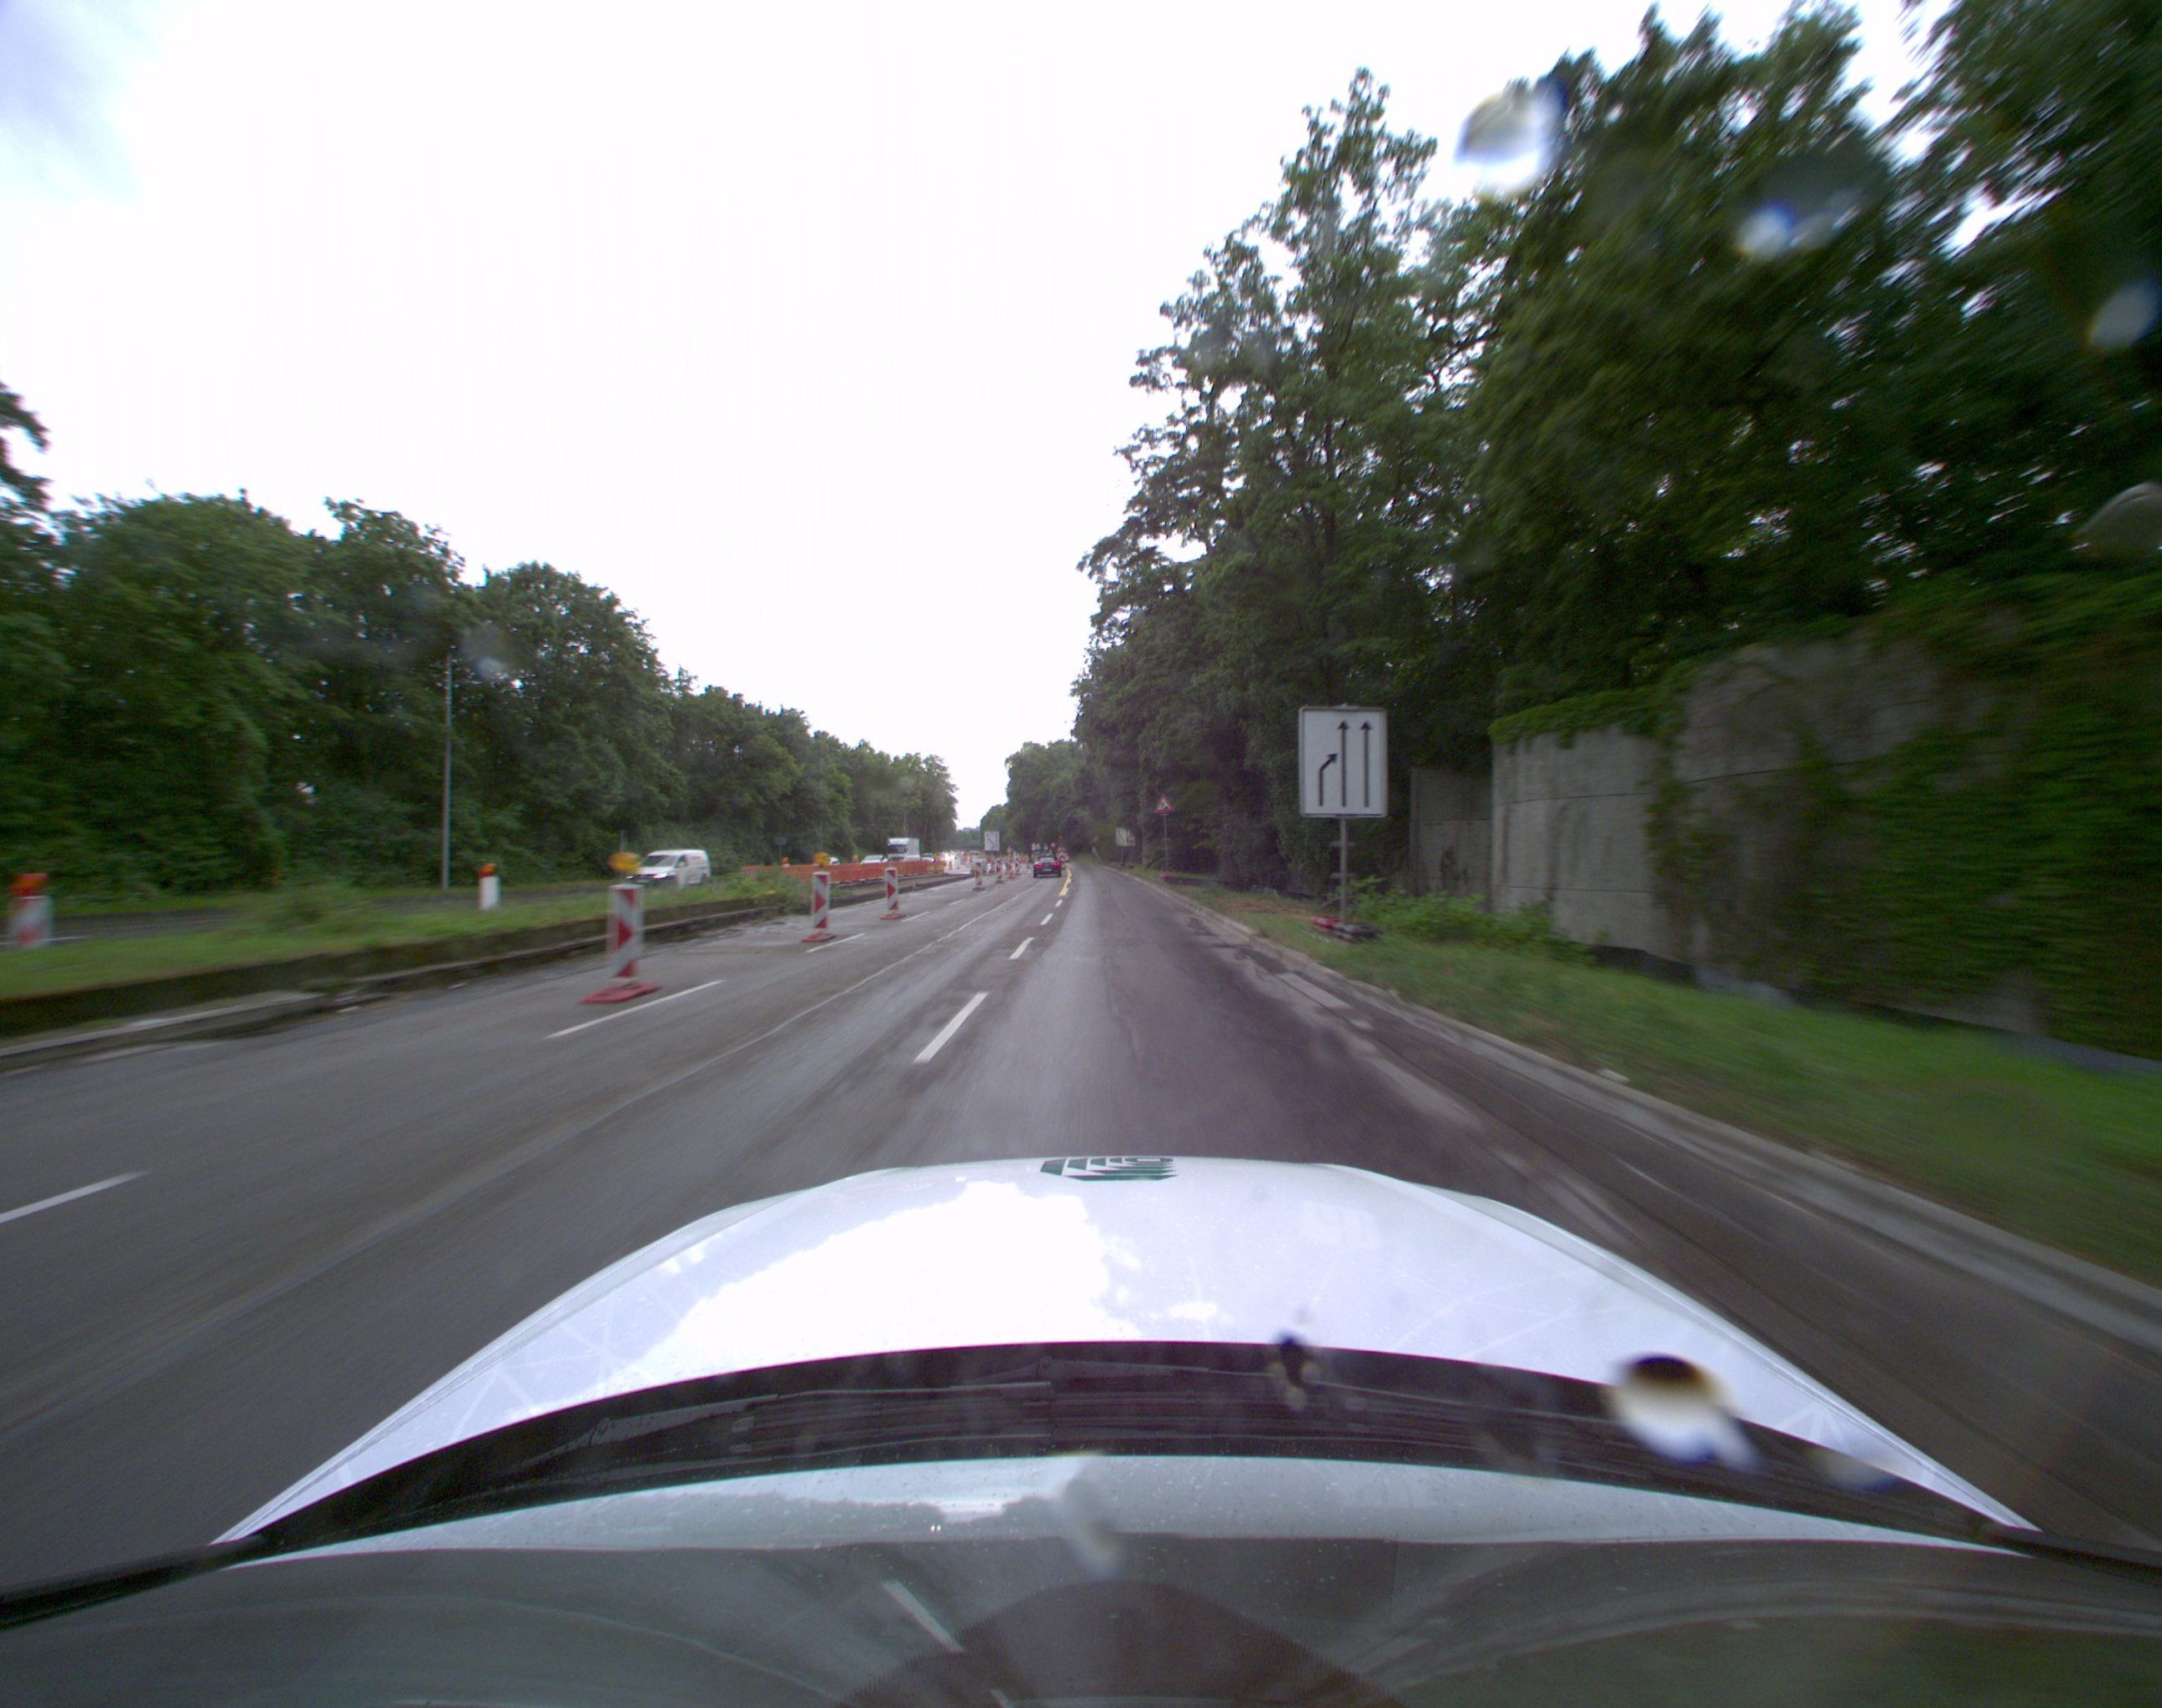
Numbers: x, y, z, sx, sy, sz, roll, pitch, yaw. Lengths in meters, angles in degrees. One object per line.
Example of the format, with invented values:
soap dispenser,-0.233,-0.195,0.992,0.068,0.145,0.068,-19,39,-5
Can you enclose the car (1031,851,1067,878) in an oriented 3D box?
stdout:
car,-2.070,0.673,53.952,1.853,1.491,4.006,1,3,5

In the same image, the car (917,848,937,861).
car,-23.069,0.064,122.269,1.838,1.723,4.720,-4,0,1

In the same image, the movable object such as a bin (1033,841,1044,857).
movable object such as a bin,-7.835,-0.881,149.023,1.744,2.867,3.528,-2,0,-5

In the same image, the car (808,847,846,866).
car,-20.822,0.193,66.861,1.785,1.425,3.896,-1,0,1

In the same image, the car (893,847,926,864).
car,-15.267,0.097,72.792,1.849,1.486,4.680,-1,1,1

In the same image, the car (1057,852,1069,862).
car,-2.999,0.442,134.907,1.910,1.598,4.827,0,1,-4

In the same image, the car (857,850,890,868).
car,-18.134,0.403,71.318,1.829,1.550,4.040,-1,0,1

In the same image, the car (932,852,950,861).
car,-19.575,0.331,114.006,1.600,1.152,4.283,-1,0,1

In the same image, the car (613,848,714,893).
car,-18.222,0.671,35.799,1.908,1.781,4.834,0,1,0

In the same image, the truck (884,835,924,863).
truck,-21.428,-0.610,99.236,2.787,3.148,10.142,-1,0,-1
